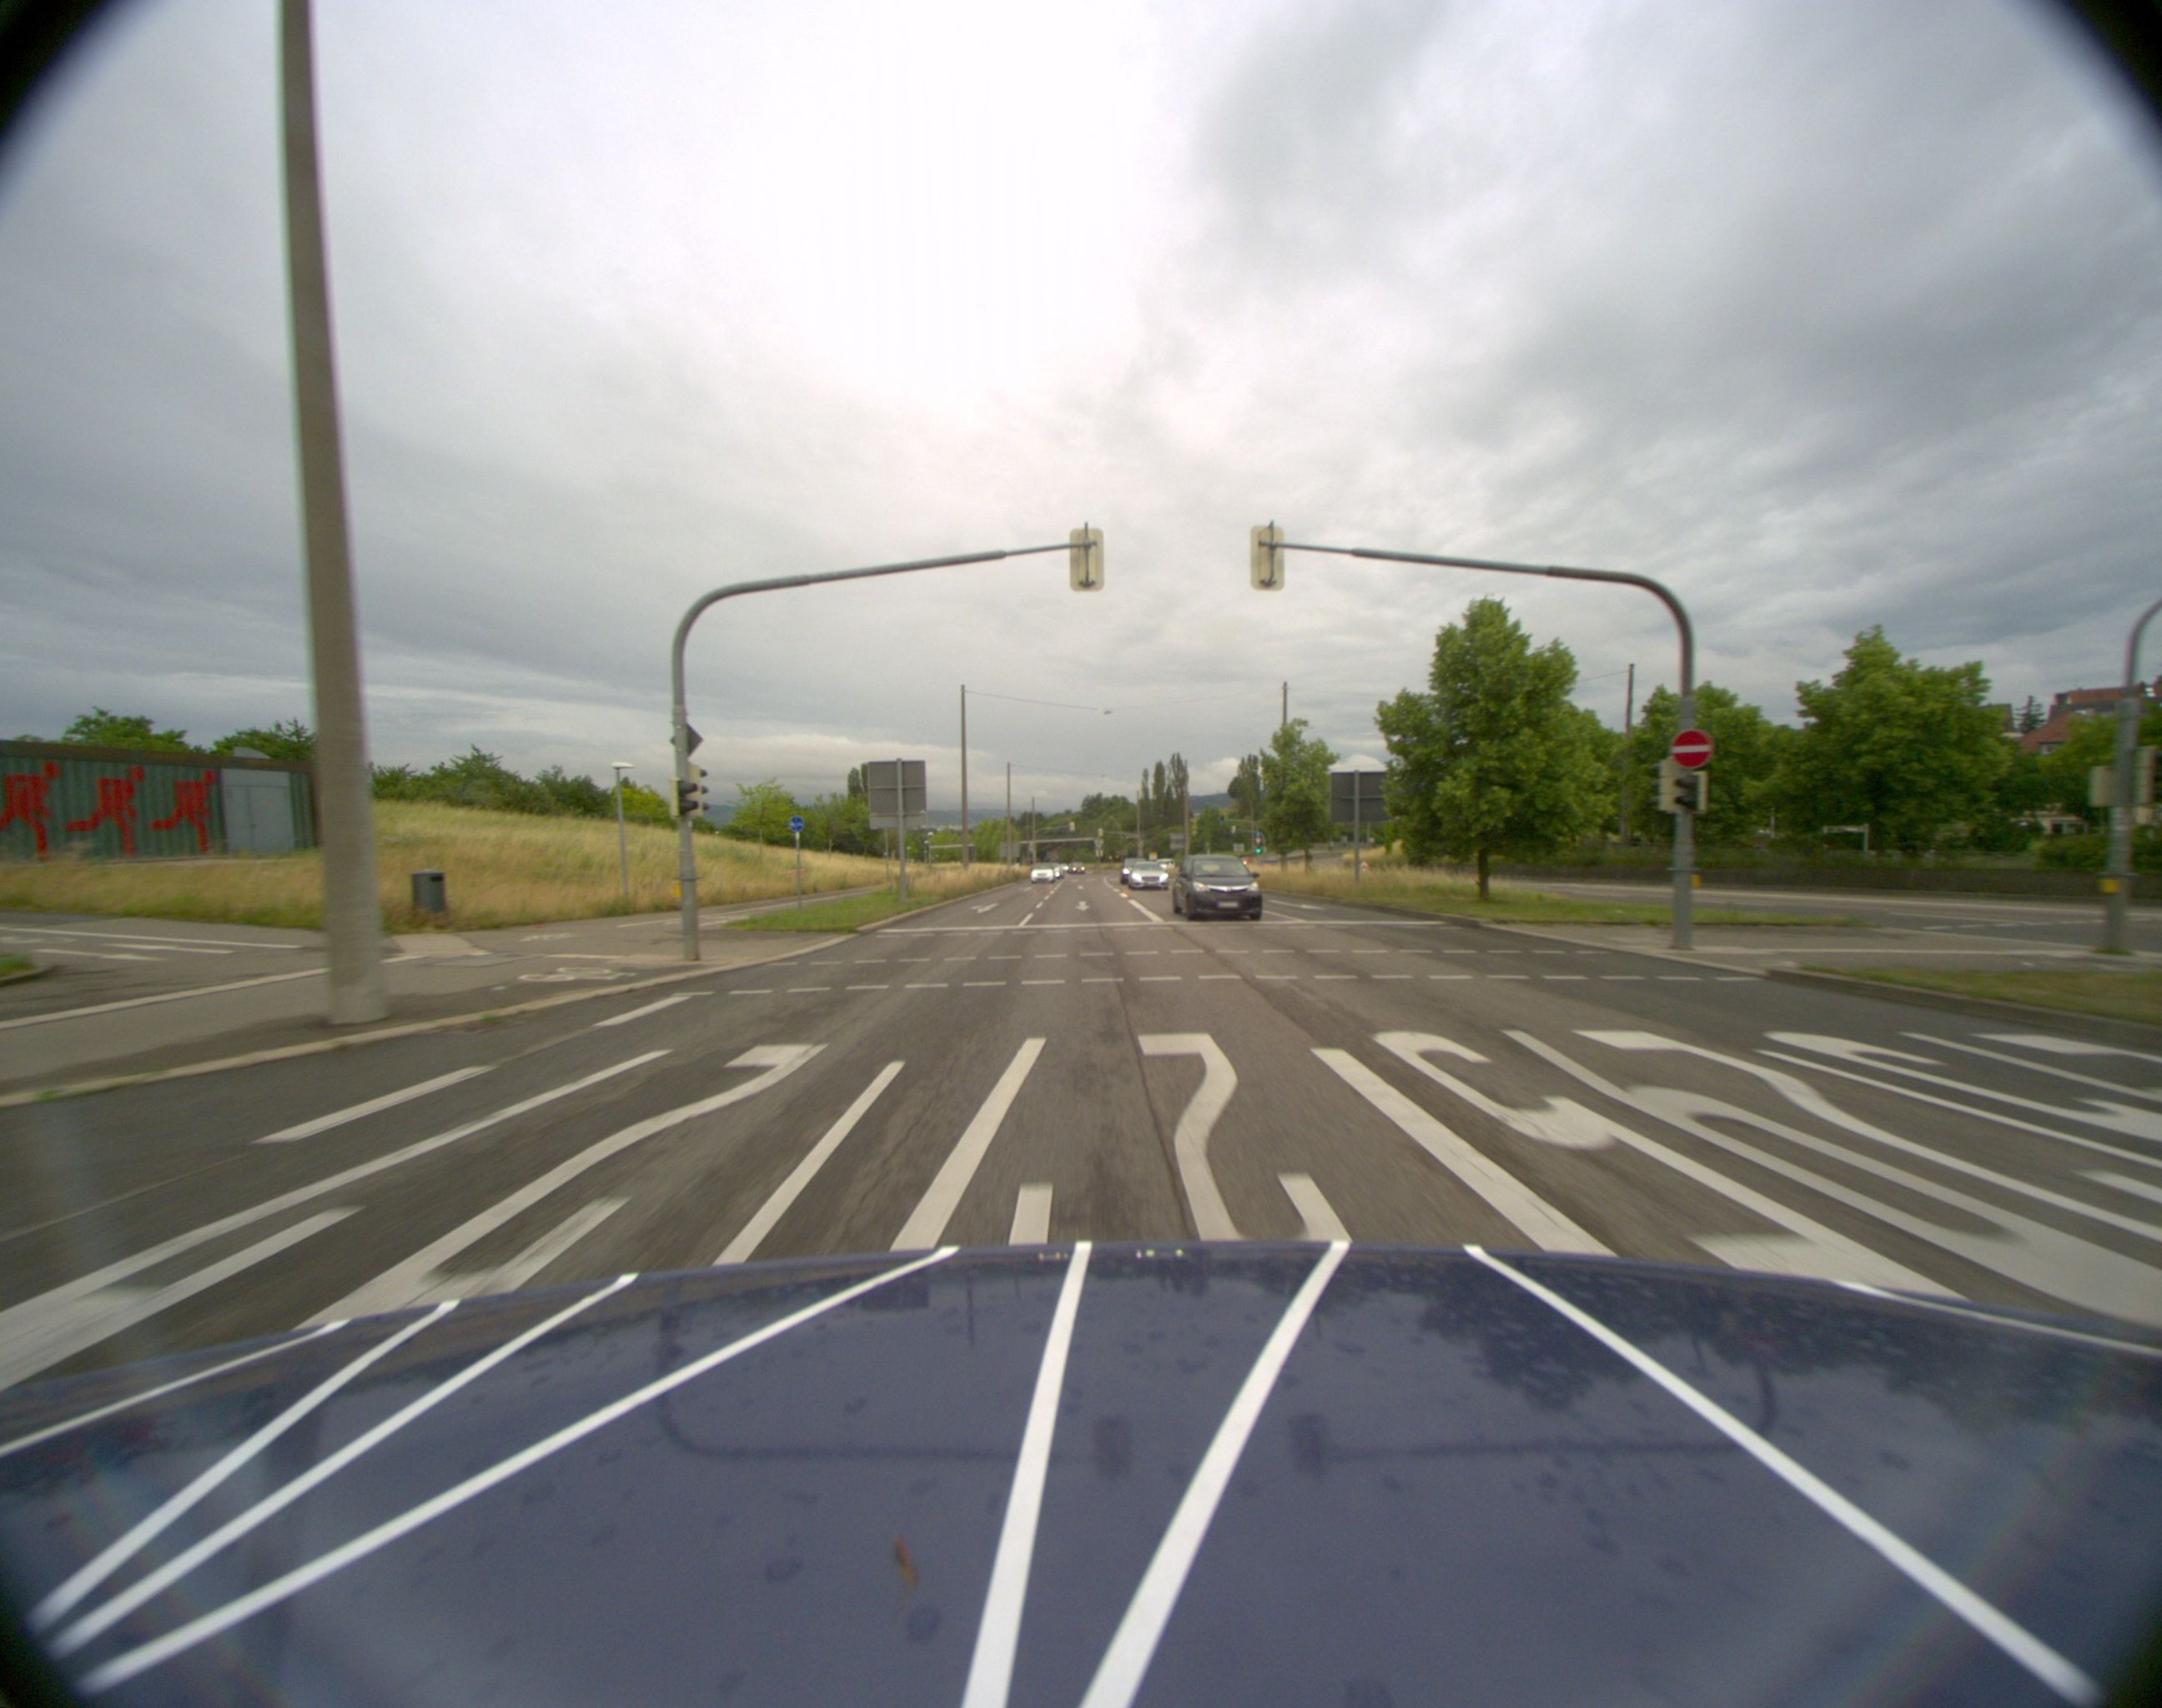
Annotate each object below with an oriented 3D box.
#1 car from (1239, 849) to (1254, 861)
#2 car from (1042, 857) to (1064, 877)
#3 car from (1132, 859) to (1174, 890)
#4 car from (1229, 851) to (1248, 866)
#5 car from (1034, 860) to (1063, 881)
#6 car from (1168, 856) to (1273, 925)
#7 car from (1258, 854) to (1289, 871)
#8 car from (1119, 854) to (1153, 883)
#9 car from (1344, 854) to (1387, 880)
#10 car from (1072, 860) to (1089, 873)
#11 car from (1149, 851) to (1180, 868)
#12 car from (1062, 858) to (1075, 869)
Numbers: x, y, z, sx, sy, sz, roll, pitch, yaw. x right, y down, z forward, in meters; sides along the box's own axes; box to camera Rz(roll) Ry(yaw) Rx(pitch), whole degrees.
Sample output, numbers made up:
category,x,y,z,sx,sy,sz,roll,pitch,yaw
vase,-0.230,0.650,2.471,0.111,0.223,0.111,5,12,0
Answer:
category,x,y,z,sx,sy,sz,roll,pitch,yaw
car,28.753,0.159,131.956,1.995,2.001,4.007,-1,-2,21
car,-2.608,1.201,72.044,1.843,1.532,3.815,-4,4,0
car,3.654,0.999,38.855,1.998,1.400,4.526,1,0,5
car,22.512,0.719,108.479,1.996,2.001,4.007,-3,-2,21
car,-2.481,1.239,58.792,1.725,1.513,4.229,-1,0,4
car,3.347,0.830,18.984,1.801,1.556,4.042,0,0,-1
car,19.130,0.862,75.649,1.867,1.610,3.999,-2,0,-3
car,3.526,0.925,49.115,1.927,1.725,4.026,2,0,1
car,22.845,1.019,61.185,1.998,2.002,4.000,0,0,2
car,-0.070,1.642,103.467,1.999,1.633,4.626,-3,0,-4
car,10.244,0.672,93.238,1.995,2.001,4.008,-4,-2,35
car,-2.227,1.685,135.328,1.999,1.633,4.626,-3,0,-4
